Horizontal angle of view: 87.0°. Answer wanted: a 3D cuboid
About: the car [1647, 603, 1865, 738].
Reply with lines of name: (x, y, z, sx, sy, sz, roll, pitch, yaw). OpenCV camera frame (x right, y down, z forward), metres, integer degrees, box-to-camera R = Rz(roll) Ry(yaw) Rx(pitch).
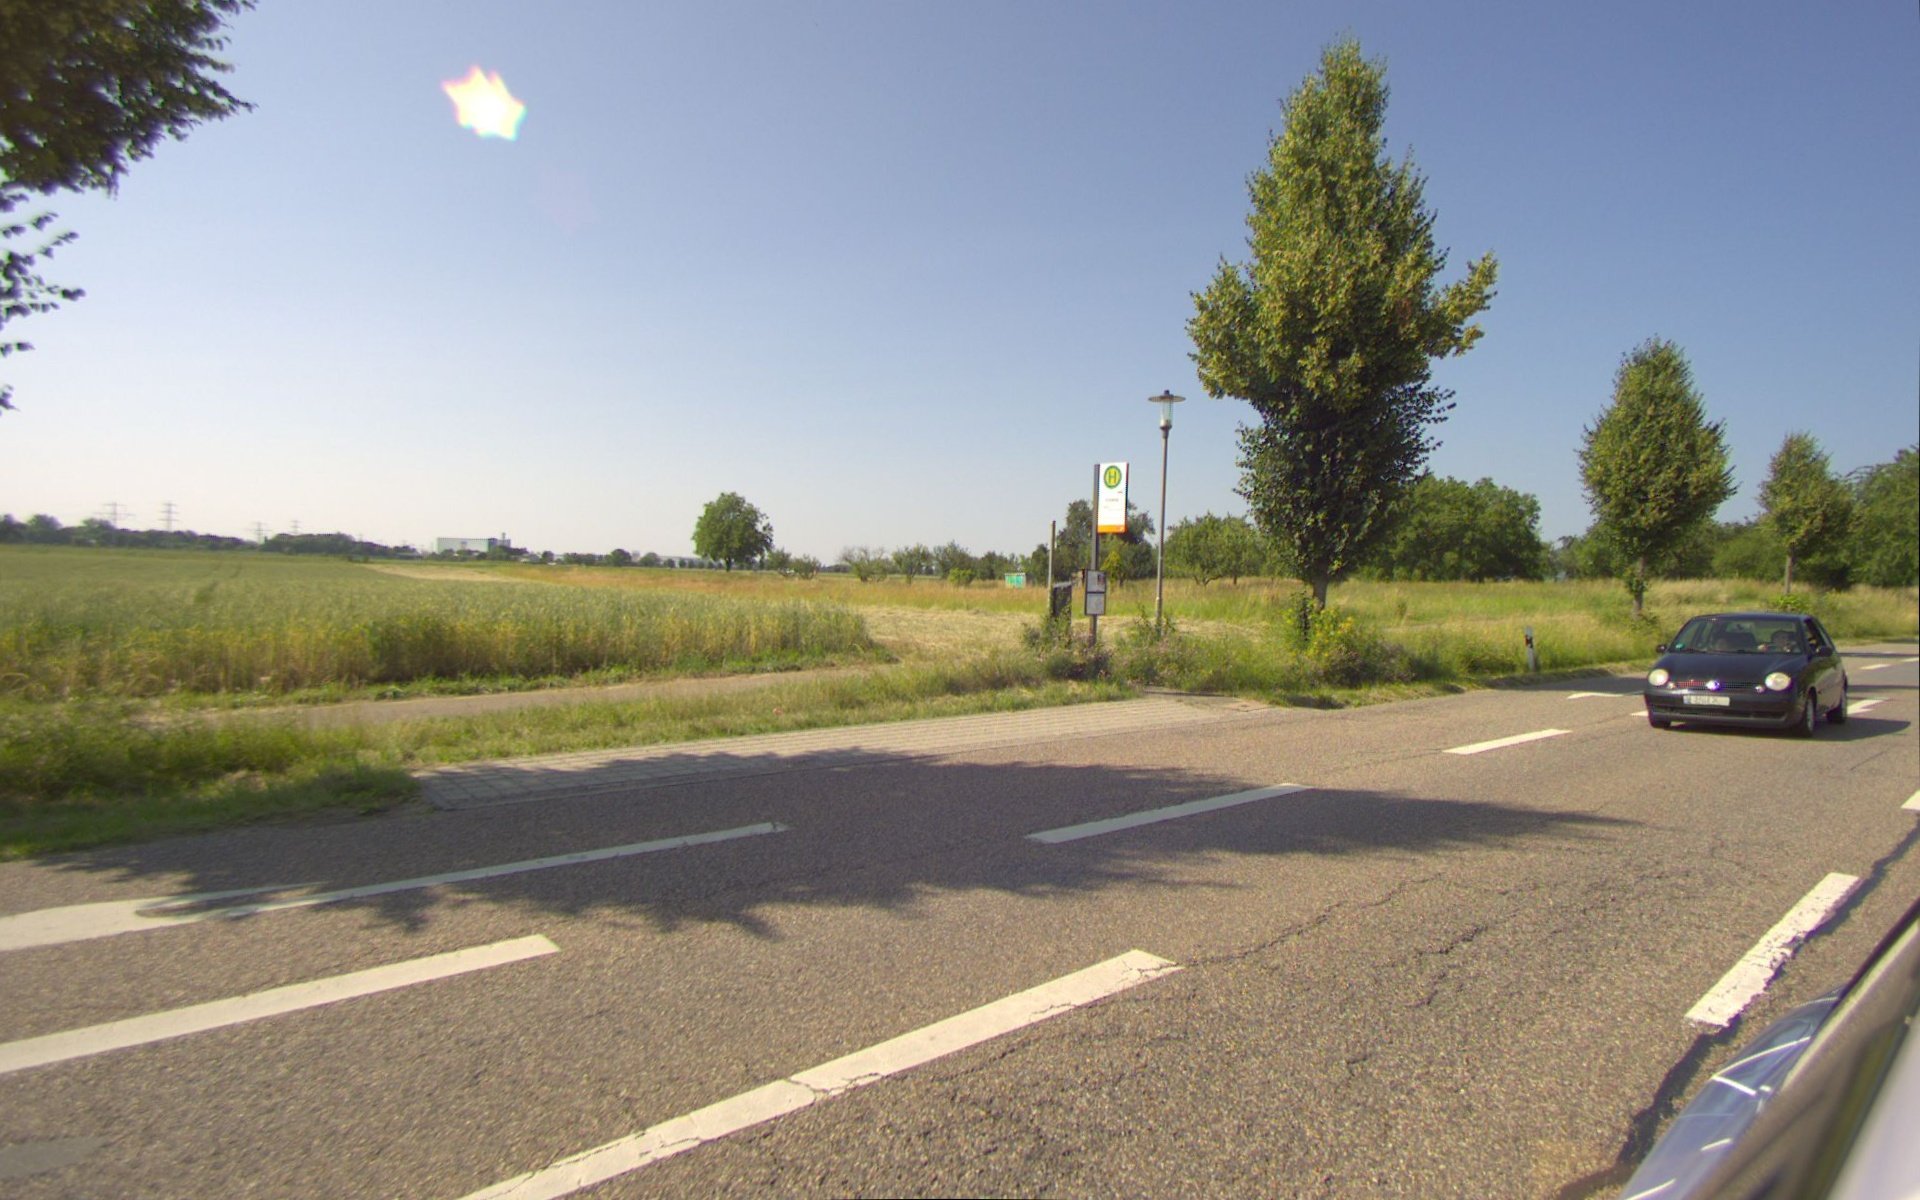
car: (10.102, 0.767, 12.762, 3.561, 1.451, 1.627, 0, 0, -43)
